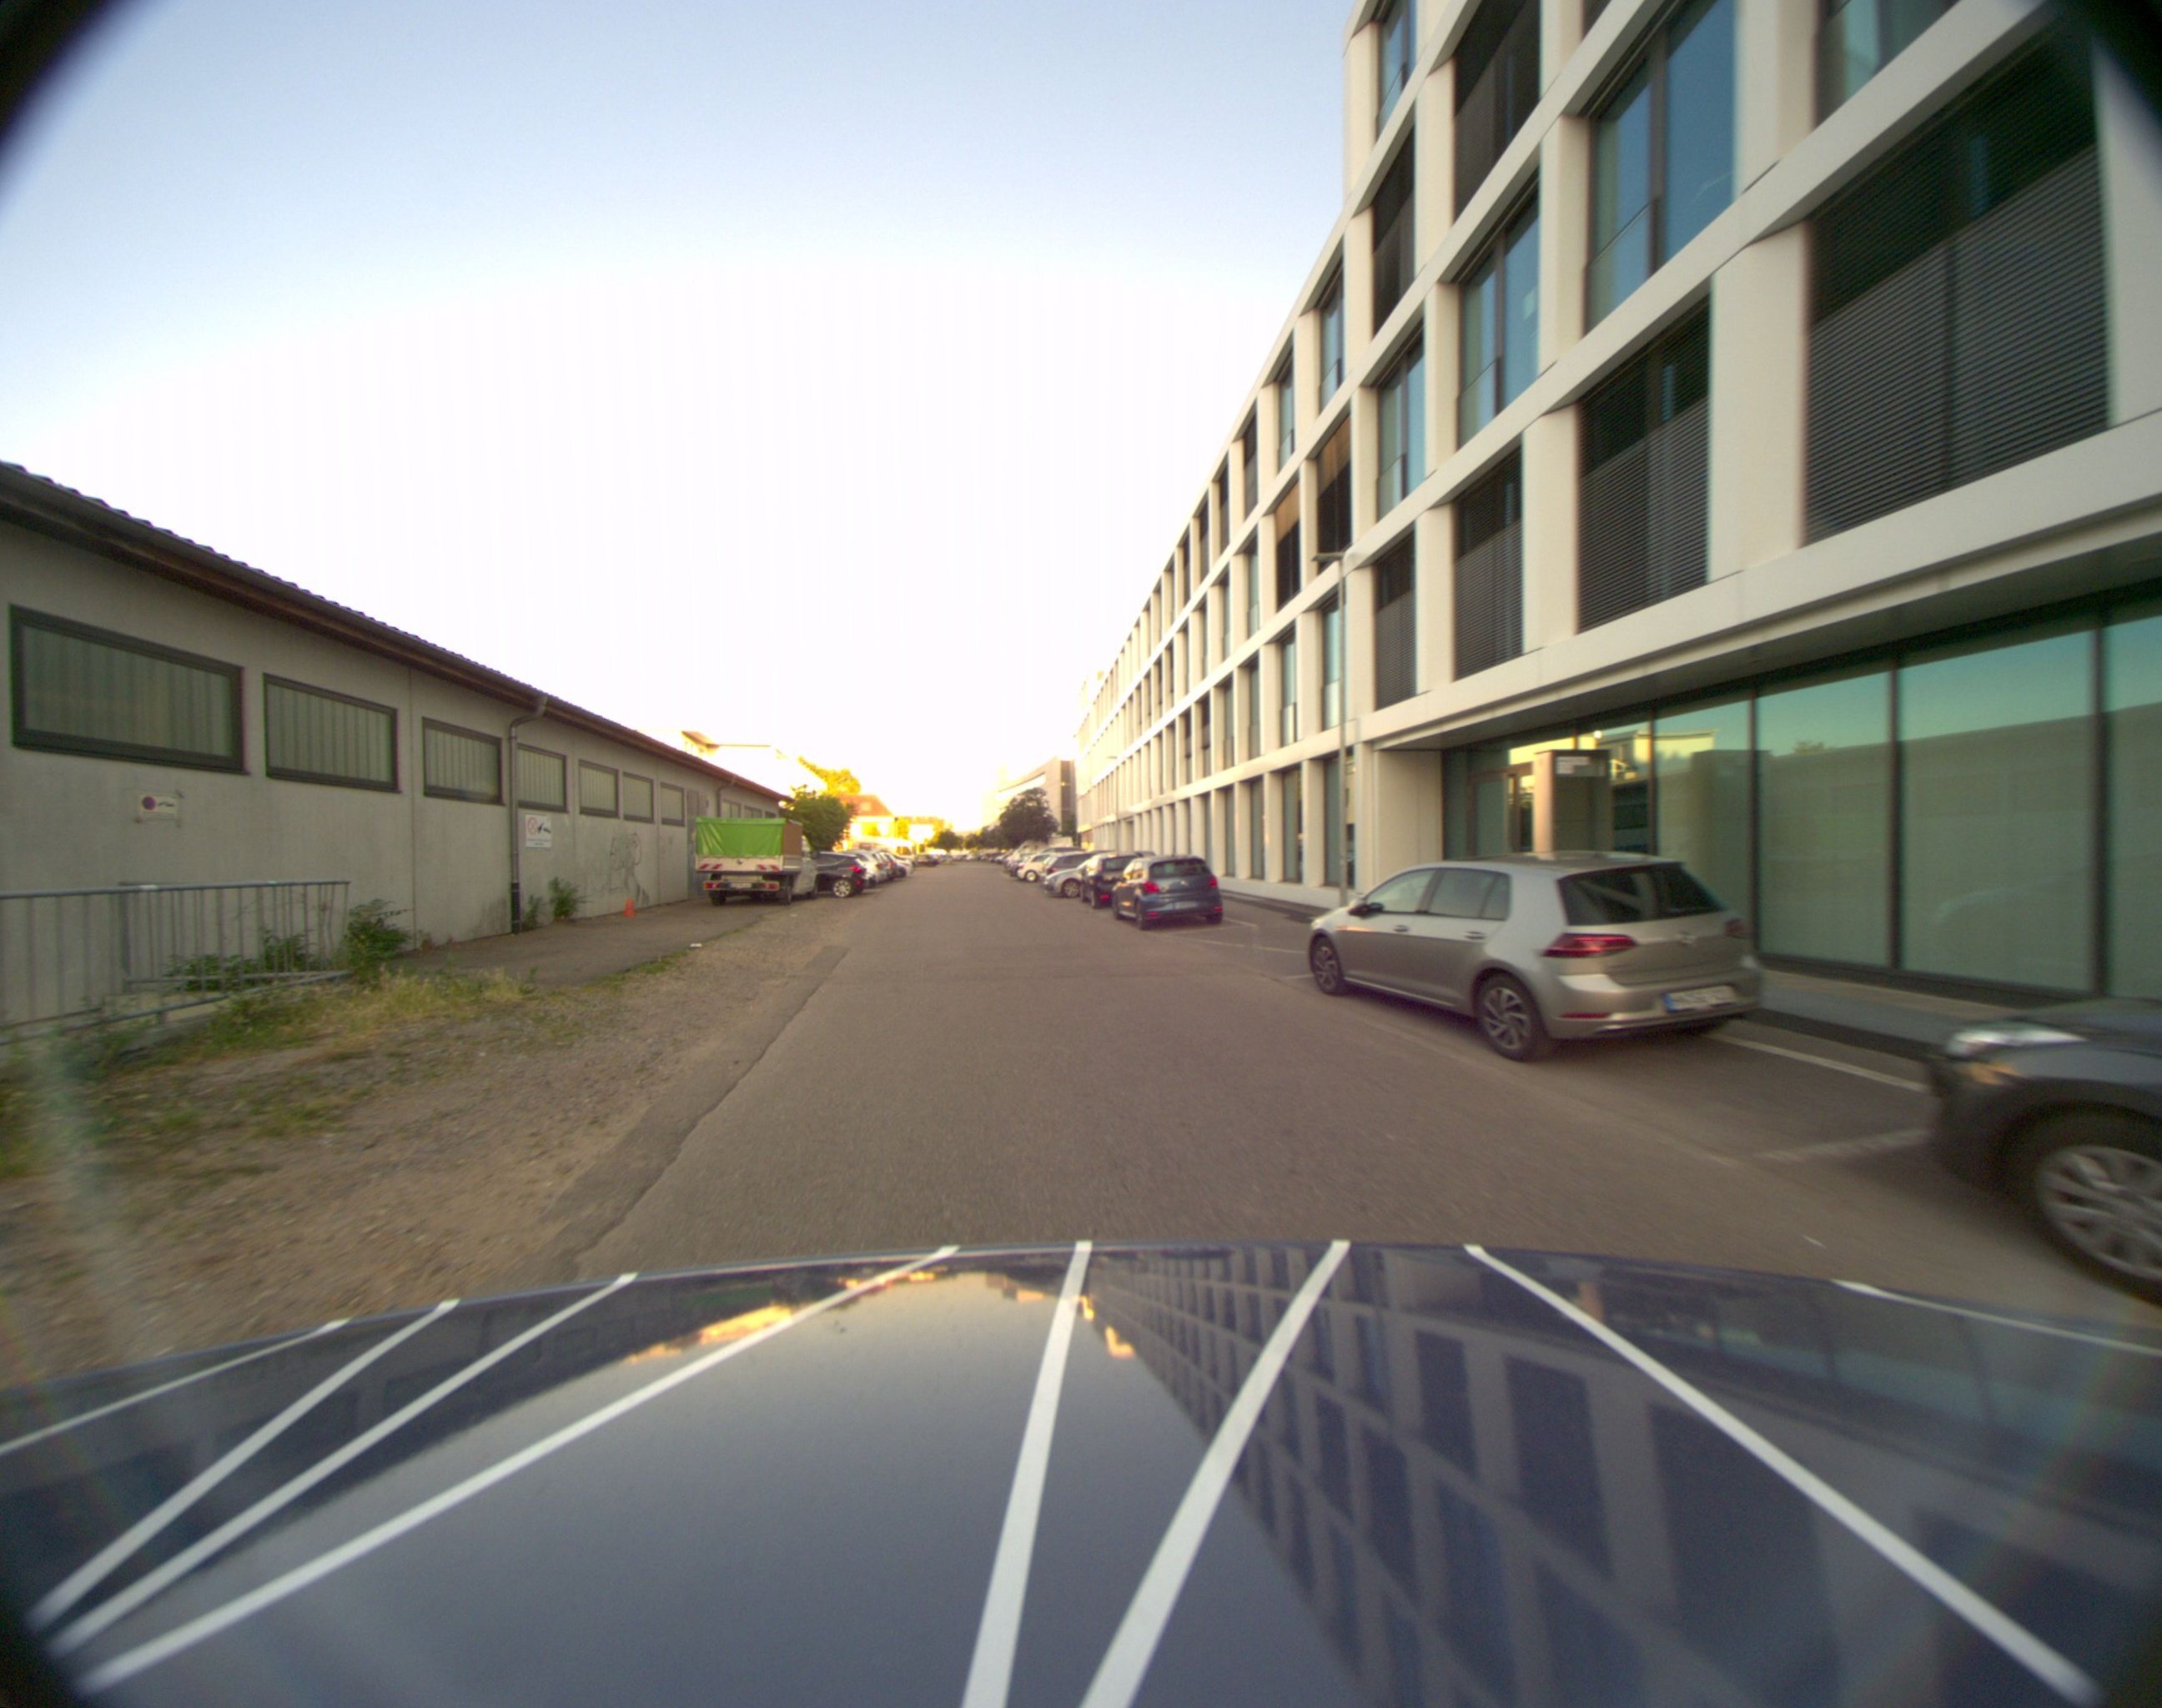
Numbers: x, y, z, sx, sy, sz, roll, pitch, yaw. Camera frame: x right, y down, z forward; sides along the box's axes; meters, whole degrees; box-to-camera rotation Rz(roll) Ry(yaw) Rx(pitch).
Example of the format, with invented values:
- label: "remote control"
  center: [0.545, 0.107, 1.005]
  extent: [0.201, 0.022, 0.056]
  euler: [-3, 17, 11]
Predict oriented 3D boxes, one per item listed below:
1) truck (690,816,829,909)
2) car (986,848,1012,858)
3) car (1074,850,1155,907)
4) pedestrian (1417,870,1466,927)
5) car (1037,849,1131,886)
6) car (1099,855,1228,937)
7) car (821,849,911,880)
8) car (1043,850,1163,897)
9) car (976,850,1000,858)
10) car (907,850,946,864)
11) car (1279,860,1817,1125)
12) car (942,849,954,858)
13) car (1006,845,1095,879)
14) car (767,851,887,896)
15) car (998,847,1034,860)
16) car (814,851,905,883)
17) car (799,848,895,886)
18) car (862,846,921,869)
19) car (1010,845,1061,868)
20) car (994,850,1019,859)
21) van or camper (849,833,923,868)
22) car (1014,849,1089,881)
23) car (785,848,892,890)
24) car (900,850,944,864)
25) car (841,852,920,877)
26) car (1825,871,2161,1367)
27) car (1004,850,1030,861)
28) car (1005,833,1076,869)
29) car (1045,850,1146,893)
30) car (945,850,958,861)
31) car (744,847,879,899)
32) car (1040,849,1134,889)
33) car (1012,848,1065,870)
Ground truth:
- label: "truck"
  center: [-8.510, 0.247, 20.762]
  extent: [2.105, 2.187, 5.707]
  euler: [0, -1, -8]
- label: "car"
  center: [-14.199, -0.151, 131.214]
  extent: [4.031, 1.574, 1.796]
  euler: [-2, 1, -18]
- label: "car"
  center: [0.884, 0.636, 22.412]
  extent: [1.653, 1.430, 4.198]
  euler: [-4, 1, -7]
- label: "pedestrian"
  center: [6.625, 0.801, 13.989]
  extent: [0.589, 1.013, 0.629]
  euler: [0, 1, -2]
- label: "car"
  center: [0.092, 0.572, 33.677]
  extent: [3.976, 1.502, 1.795]
  euler: [-1, 0, -5]
- label: "car"
  center: [1.631, 0.798, 16.515]
  extent: [1.653, 1.430, 4.181]
  euler: [-4, 1, -9]
- label: "car"
  center: [-11.173, 0.531, 39.715]
  extent: [4.215, 1.494, 1.888]
  euler: [-1, 2, -7]
- label: "car"
  center: [0.707, 0.653, 26.310]
  extent: [3.938, 1.502, 1.687]
  euler: [-1, 0, -5]
- label: "car"
  center: [-17.275, -0.080, 140.788]
  extent: [4.031, 1.340, 1.796]
  euler: [-2, 1, -18]
- label: "car"
  center: [-16.393, 0.293, 80.760]
  extent: [4.069, 1.399, 1.894]
  euler: [1, 0, -10]
- label: "car"
  center: [3.556, 0.869, 6.858]
  extent: [1.716, 1.470, 4.180]
  euler: [-4, 1, -11]
- label: "car"
  center: [-20.674, -0.054, 118.117]
  extent: [1.772, 1.454, 4.363]
  euler: [1, 0, -12]
- label: "car"
  center: [-1.641, 0.417, 41.128]
  extent: [4.631, 1.696, 2.004]
  euler: [-1, 0, -3]
- label: "car"
  center: [-8.996, 0.649, 27.203]
  extent: [3.772, 1.436, 1.843]
  euler: [-1, 1, -9]
- label: "car"
  center: [-9.732, -0.071, 113.780]
  extent: [5.087, 1.870, 1.887]
  euler: [-2, 1, -13]
- label: "car"
  center: [-10.773, 0.602, 37.167]
  extent: [3.996, 1.437, 1.825]
  euler: [-1, 2, -8]
- label: "car"
  center: [-10.567, 0.560, 34.566]
  extent: [3.998, 1.610, 1.825]
  euler: [-1, 1, -12]
- label: "car"
  center: [-15.291, 0.286, 61.469]
  extent: [4.253, 1.731, 1.967]
  euler: [1, 1, -3]
- label: "car"
  center: [-3.866, 0.203, 64.681]
  extent: [4.122, 1.806, 1.814]
  euler: [-1, 0, -10]
- label: "car"
  center: [-12.161, 0.094, 123.182]
  extent: [3.815, 1.353, 1.797]
  euler: [-2, 1, -13]
- label: "van or camper"
  center: [-16.454, -0.308, 64.320]
  extent: [5.800, 2.848, 2.484]
  euler: [1, 1, -9]
- label: "car"
  center: [-1.480, 0.530, 38.542]
  extent: [3.677, 1.502, 1.695]
  euler: [-1, 0, -3]
- label: "car"
  center: [-10.096, 0.595, 31.926]
  extent: [3.997, 1.600, 1.937]
  euler: [-1, 1, -9]
- label: "car"
  center: [-16.341, 0.279, 78.325]
  extent: [4.330, 1.326, 1.894]
  euler: [1, 1, -10]
- label: "car"
  center: [-11.740, 0.597, 44.659]
  extent: [4.215, 1.359, 1.822]
  euler: [-1, 0, -5]
- label: "car"
  center: [4.420, 0.854, 1.284]
  extent: [1.785, 1.470, 4.327]
  euler: [-2, 1, -8]
- label: "car"
  center: [-9.356, 0.234, 111.134]
  extent: [3.657, 1.416, 1.724]
  euler: [-2, 1, -8]
- label: "car"
  center: [-3.182, -0.247, 59.463]
  extent: [5.397, 2.617, 2.077]
  euler: [-1, 0, -5]
- label: "car"
  center: [0.516, 0.638, 28.962]
  extent: [3.665, 1.502, 1.686]
  euler: [-1, 0, -6]
- label: "car"
  center: [-18.123, 0.231, 106.114]
  extent: [1.682, 1.454, 4.364]
  euler: [1, 0, -9]
- label: "car"
  center: [-8.688, 0.584, 24.787]
  extent: [3.771, 1.527, 1.889]
  euler: [-1, 2, -7]
- label: "car"
  center: [0.217, 0.593, 31.185]
  extent: [3.665, 1.502, 1.686]
  euler: [-1, 0, -6]
- label: "car"
  center: [-3.100, 0.378, 54.855]
  extent: [3.719, 1.487, 1.706]
  euler: [-1, 0, -7]
